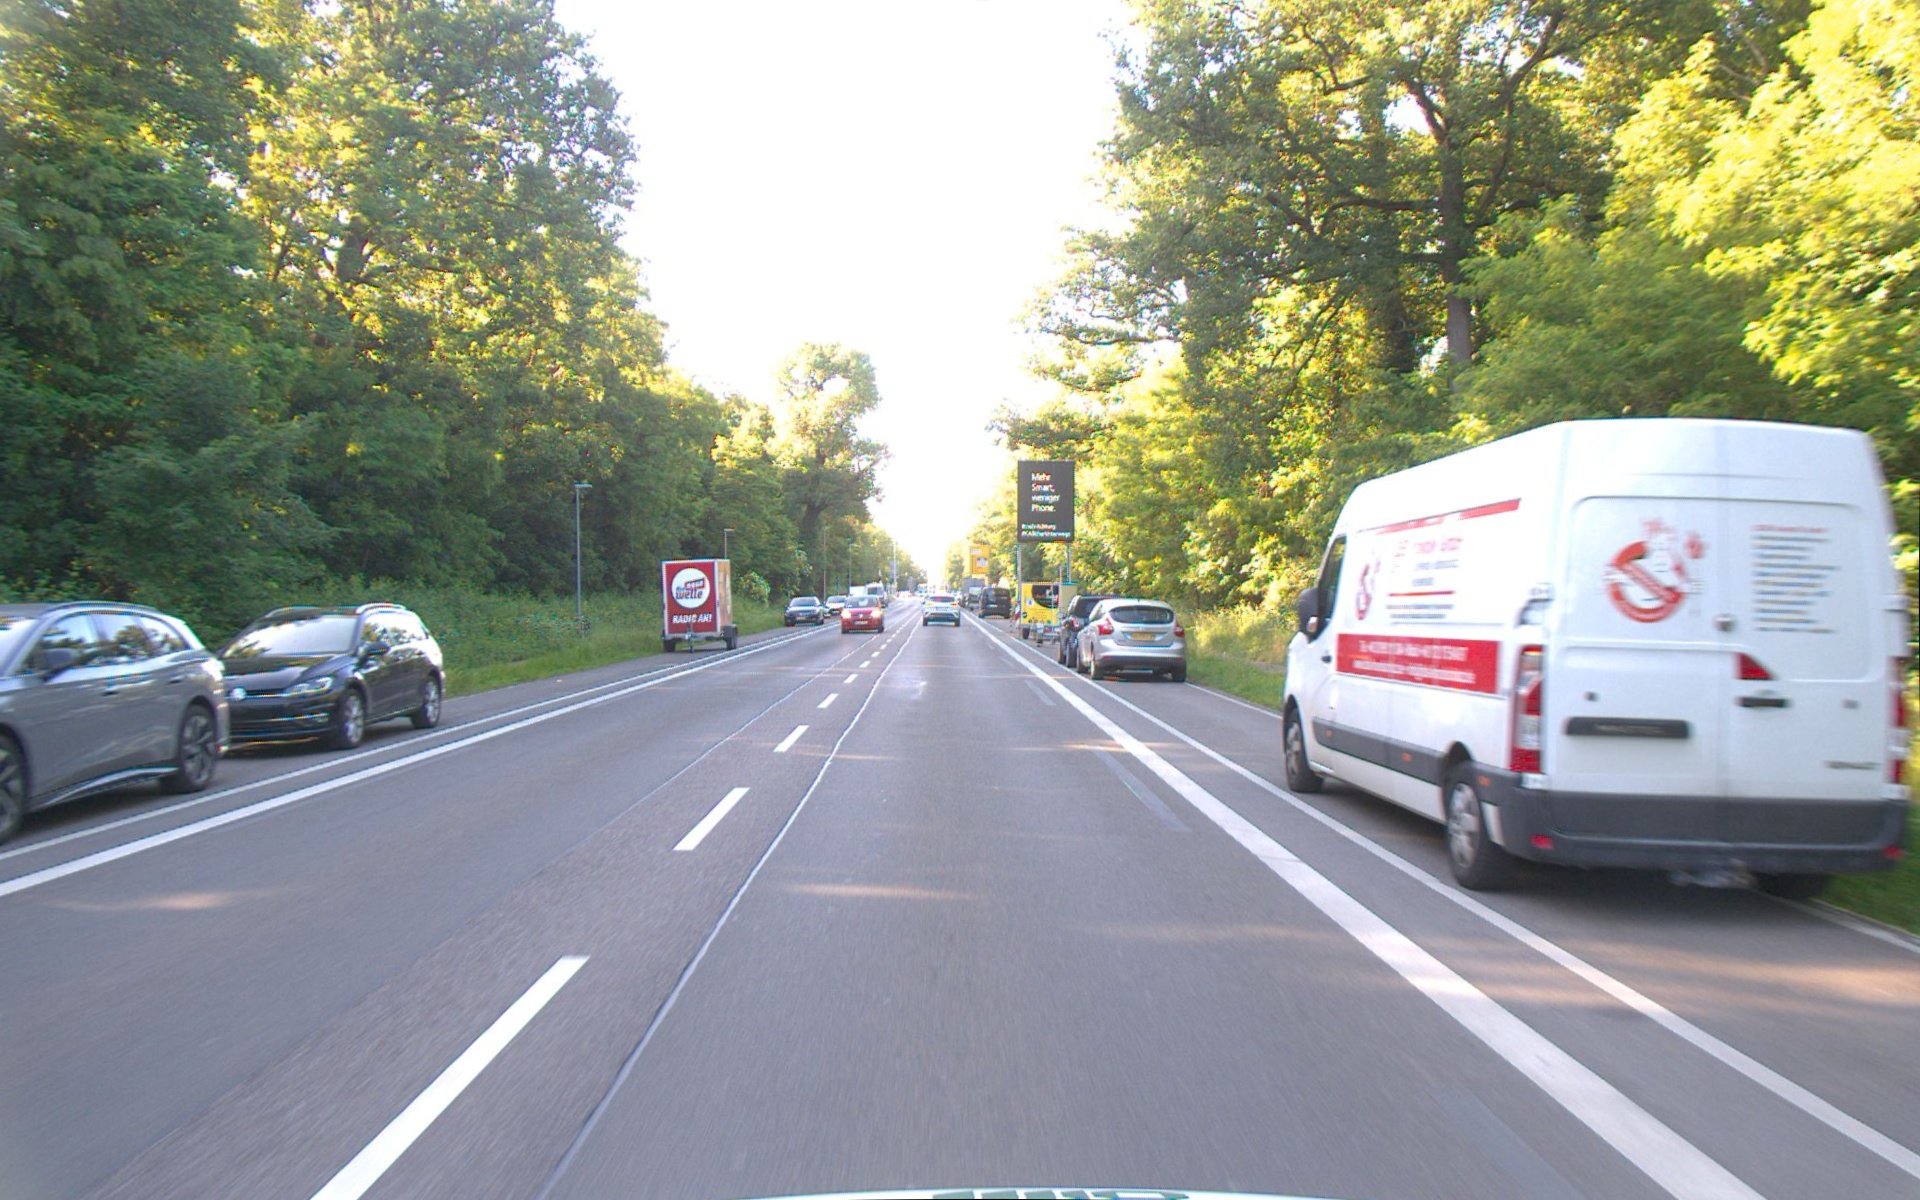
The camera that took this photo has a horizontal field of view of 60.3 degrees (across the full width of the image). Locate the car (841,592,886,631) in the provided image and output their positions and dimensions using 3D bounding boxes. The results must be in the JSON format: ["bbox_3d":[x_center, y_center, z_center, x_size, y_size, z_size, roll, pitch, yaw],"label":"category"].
[{"bbox_3d":[-3.765,0.432,64.741,1.571,1.445,3.518,-2,0,-1],"label":"car"}]

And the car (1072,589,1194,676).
[{"bbox_3d":[3.225,0.563,31.602,1.700,1.514,4.399,2,0,-2],"label":"car"}]

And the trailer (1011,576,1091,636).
[{"bbox_3d":[3.290,0.195,59.143,1.921,2.058,3.845,0,0,19],"label":"trailer"}]

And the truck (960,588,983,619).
[{"bbox_3d":[1.213,0.377,183.138,2.454,3.425,7.106,1,0,0],"label":"truck"}]

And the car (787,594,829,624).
[{"bbox_3d":[-7.909,0.464,86.552,1.817,1.490,4.783,0,0,-1],"label":"car"}]

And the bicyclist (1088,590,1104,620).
[{"bbox_3d":[6.206,0.219,75.517,0.598,1.347,1.175,0,0,-1],"label":"bicyclist"}]

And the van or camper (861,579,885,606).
[{"bbox_3d":[-9.770,-0.864,186.060,2.255,2.816,5.556,-3,0,-1],"label":"van or camper"}]

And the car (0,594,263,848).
[{"bbox_3d":[-6.912,0.818,11.832,1.637,1.601,5.126,-4,0,-1],"label":"car"}]

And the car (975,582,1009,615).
[{"bbox_3d":[2.100,-0.101,108.800,2.070,2.049,5.039,2,0,0],"label":"car"}]

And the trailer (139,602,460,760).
[{"bbox_3d":[-7.074,0.786,18.260,1.803,1.492,4.465,0,0,-1],"label":"trailer"}]

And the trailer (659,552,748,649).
[{"bbox_3d":[-7.396,0.005,48.058,1.953,2.667,4.085,-1,0,-1],"label":"trailer"}]

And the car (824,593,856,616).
[{"bbox_3d":[-8.228,0.287,113.776,1.829,1.476,4.070,-3,0,-1],"label":"car"}]

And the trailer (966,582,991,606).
[{"bbox_3d":[1.683,-0.574,152.790,1.580,2.149,2.397,0,0,20],"label":"trailer"}]

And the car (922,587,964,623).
[{"bbox_3d":[-0.808,0.203,79.425,1.953,1.668,3.999,-1,0,-1],"label":"car"}]

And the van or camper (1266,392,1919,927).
[{"bbox_3d":[3.652,0.260,10.988,2.082,2.526,6.305,0,0,0],"label":"van or camper"}]

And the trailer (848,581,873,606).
[{"bbox_3d":[-9.328,-0.609,154.771,2.032,2.333,3.487,-1,0,1],"label":"trailer"}]

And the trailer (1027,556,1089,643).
[{"bbox_3d":[3.005,-0.008,51.223,1.581,2.552,3.999,1,0,-1],"label":"trailer"}]

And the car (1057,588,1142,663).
[{"bbox_3d":[3.049,0.536,36.578,1.554,1.557,3.011,1,0,-1],"label":"car"}]
